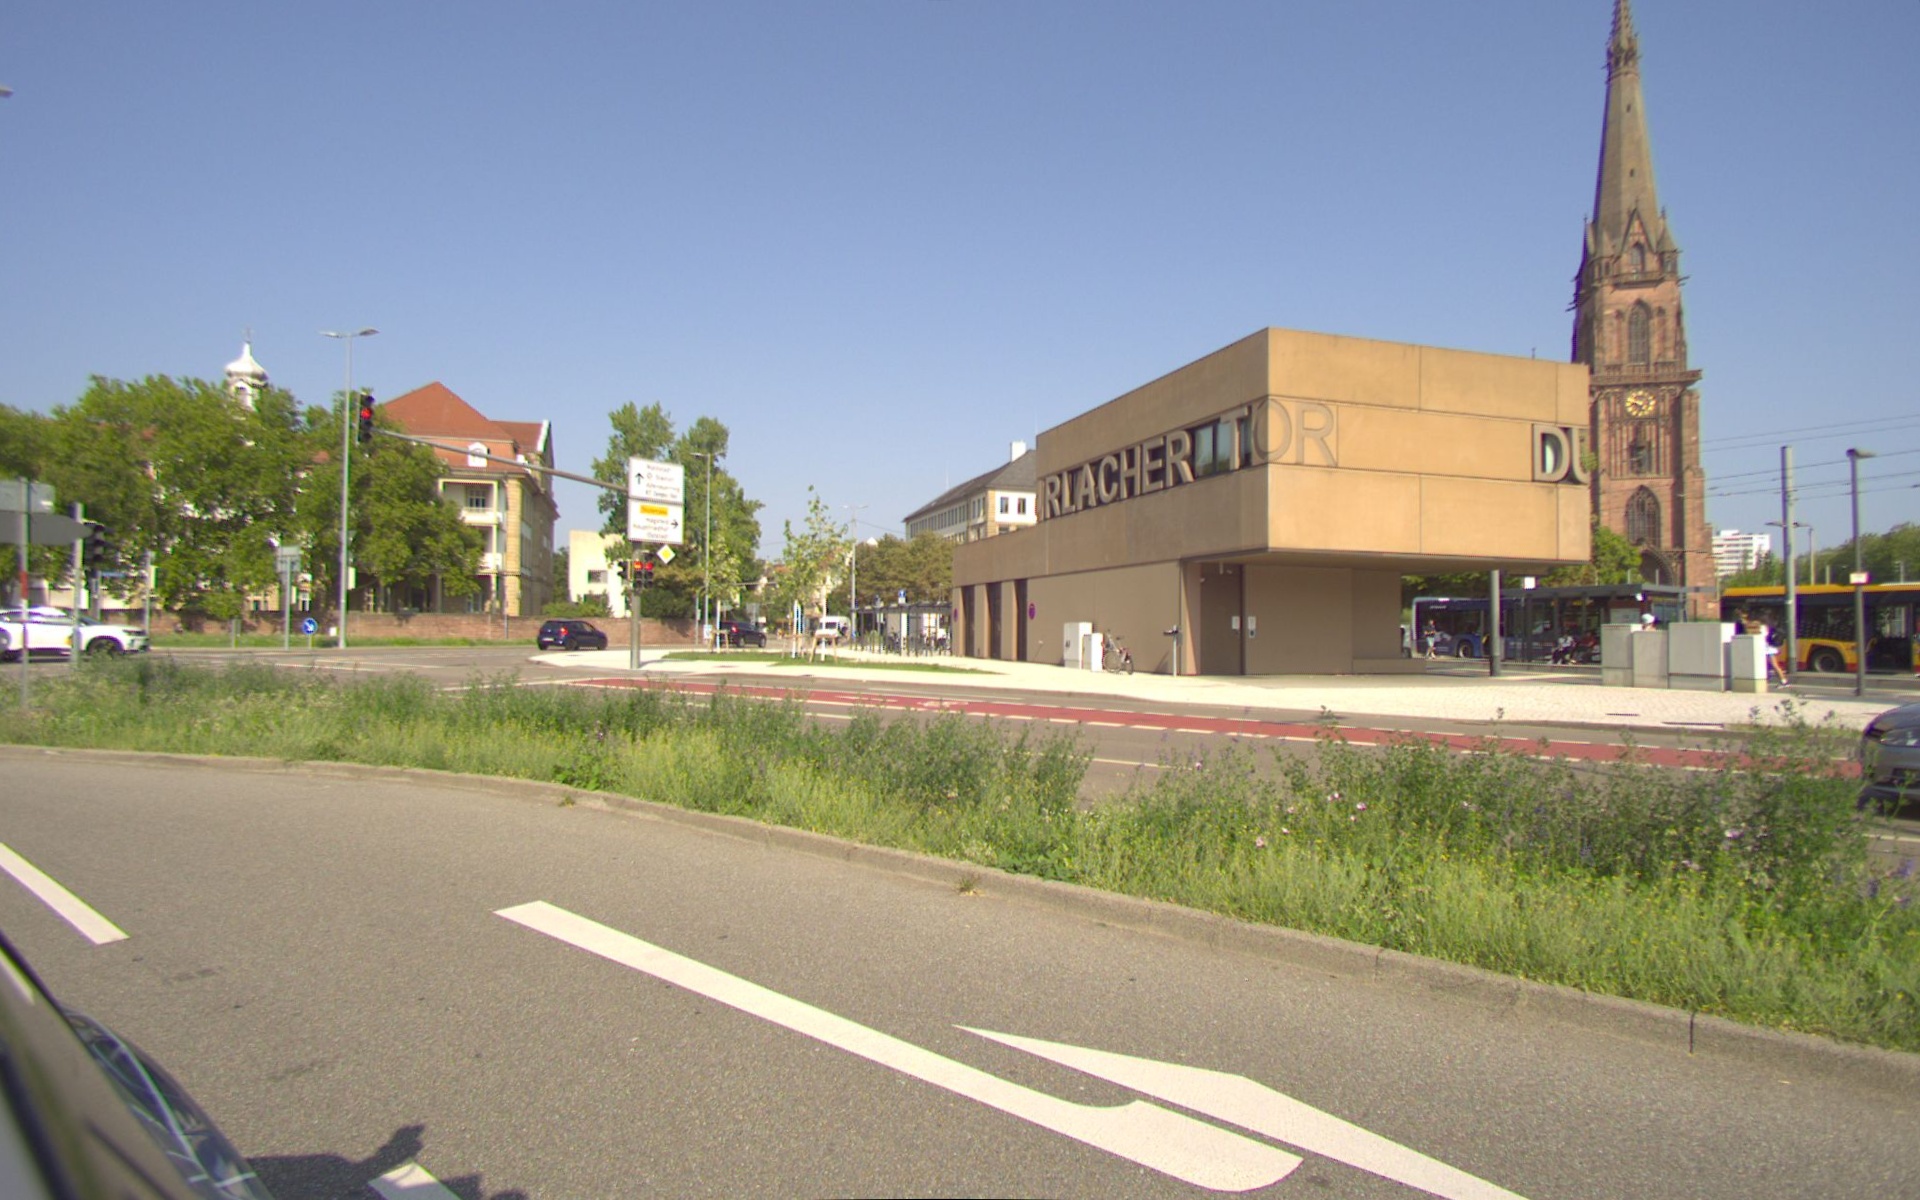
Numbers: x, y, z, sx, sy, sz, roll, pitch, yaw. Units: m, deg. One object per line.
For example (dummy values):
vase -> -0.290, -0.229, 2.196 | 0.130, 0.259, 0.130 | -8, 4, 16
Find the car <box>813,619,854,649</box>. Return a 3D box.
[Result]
car -> -11.377, 3.022, 91.704 | 1.979, 2.470, 5.531 | -1, 0, 12

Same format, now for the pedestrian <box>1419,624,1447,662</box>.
pedestrian -> 21.460, 1.945, 45.914 | 0.816, 1.719, 0.838 | 1, -2, -24

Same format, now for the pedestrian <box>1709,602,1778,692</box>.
pedestrian -> 16.067, 0.952, 20.762 | 0.974, 1.783, 0.868 | 2, -2, -37

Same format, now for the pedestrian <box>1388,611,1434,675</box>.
pedestrian -> 12.405, 1.184, 27.840 | 0.851, 1.718, 0.734 | 1, -2, -21

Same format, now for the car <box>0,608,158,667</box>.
car -> -27.274, 1.139, 30.728 | 4.297, 1.646, 2.006 | -1, -3, -28

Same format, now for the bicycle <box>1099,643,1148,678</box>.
bicycle -> 4.178, 1.537, 25.955 | 0.582, 0.844, 1.552 | -2, -1, -17

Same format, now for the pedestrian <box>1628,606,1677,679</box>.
pedestrian -> 16.305, 0.995, 23.845 | 0.863, 1.685, 0.979 | -1, -2, 31

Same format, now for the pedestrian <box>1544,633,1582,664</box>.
pedestrian -> 22.409, 1.806, 37.615 | 1.013, 1.142, 0.740 | 1, -2, -26

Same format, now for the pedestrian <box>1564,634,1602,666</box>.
pedestrian -> 22.635, 1.804, 36.772 | 1.013, 1.142, 0.740 | 1, -2, -26

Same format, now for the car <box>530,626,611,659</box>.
car -> -18.300, 1.989, 47.680 | 1.611, 1.509, 3.830 | 0, -2, 15

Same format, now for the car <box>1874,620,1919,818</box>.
car -> 9.137, 0.865, 6.847 | 4.219, 1.444, 1.796 | -1, -2, 38

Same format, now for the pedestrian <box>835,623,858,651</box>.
pedestrian -> -8.252, 2.718, 73.752 | 1.204, 2.029, 1.333 | -1, -2, 21

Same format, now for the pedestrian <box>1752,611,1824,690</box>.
pedestrian -> 17.137, 1.037, 20.949 | 0.973, 1.575, 0.868 | 2, -2, -32

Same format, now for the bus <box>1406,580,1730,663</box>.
bus -> 25.016, 0.987, 43.151 | 3.242, 3.000, 12.835 | 1, -2, -18

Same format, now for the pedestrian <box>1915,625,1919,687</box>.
pedestrian -> 27.499, 1.580, 28.303 | 0.816, 1.752, 0.838 | 1, -2, -18

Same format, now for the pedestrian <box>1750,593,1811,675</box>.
pedestrian -> 17.749, 0.732, 21.921 | 0.863, 1.718, 0.979 | -1, -2, 31

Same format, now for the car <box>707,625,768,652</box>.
car -> -14.039, 2.454, 64.057 | 1.982, 1.646, 4.349 | 0, -2, 16

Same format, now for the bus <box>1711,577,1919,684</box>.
bus -> 29.517, 0.906, 30.055 | 2.670, 3.132, 12.251 | 1, -2, -18

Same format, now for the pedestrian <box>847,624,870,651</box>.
pedestrian -> -7.547, 2.797, 75.458 | 1.204, 2.029, 1.333 | -1, -2, 21
